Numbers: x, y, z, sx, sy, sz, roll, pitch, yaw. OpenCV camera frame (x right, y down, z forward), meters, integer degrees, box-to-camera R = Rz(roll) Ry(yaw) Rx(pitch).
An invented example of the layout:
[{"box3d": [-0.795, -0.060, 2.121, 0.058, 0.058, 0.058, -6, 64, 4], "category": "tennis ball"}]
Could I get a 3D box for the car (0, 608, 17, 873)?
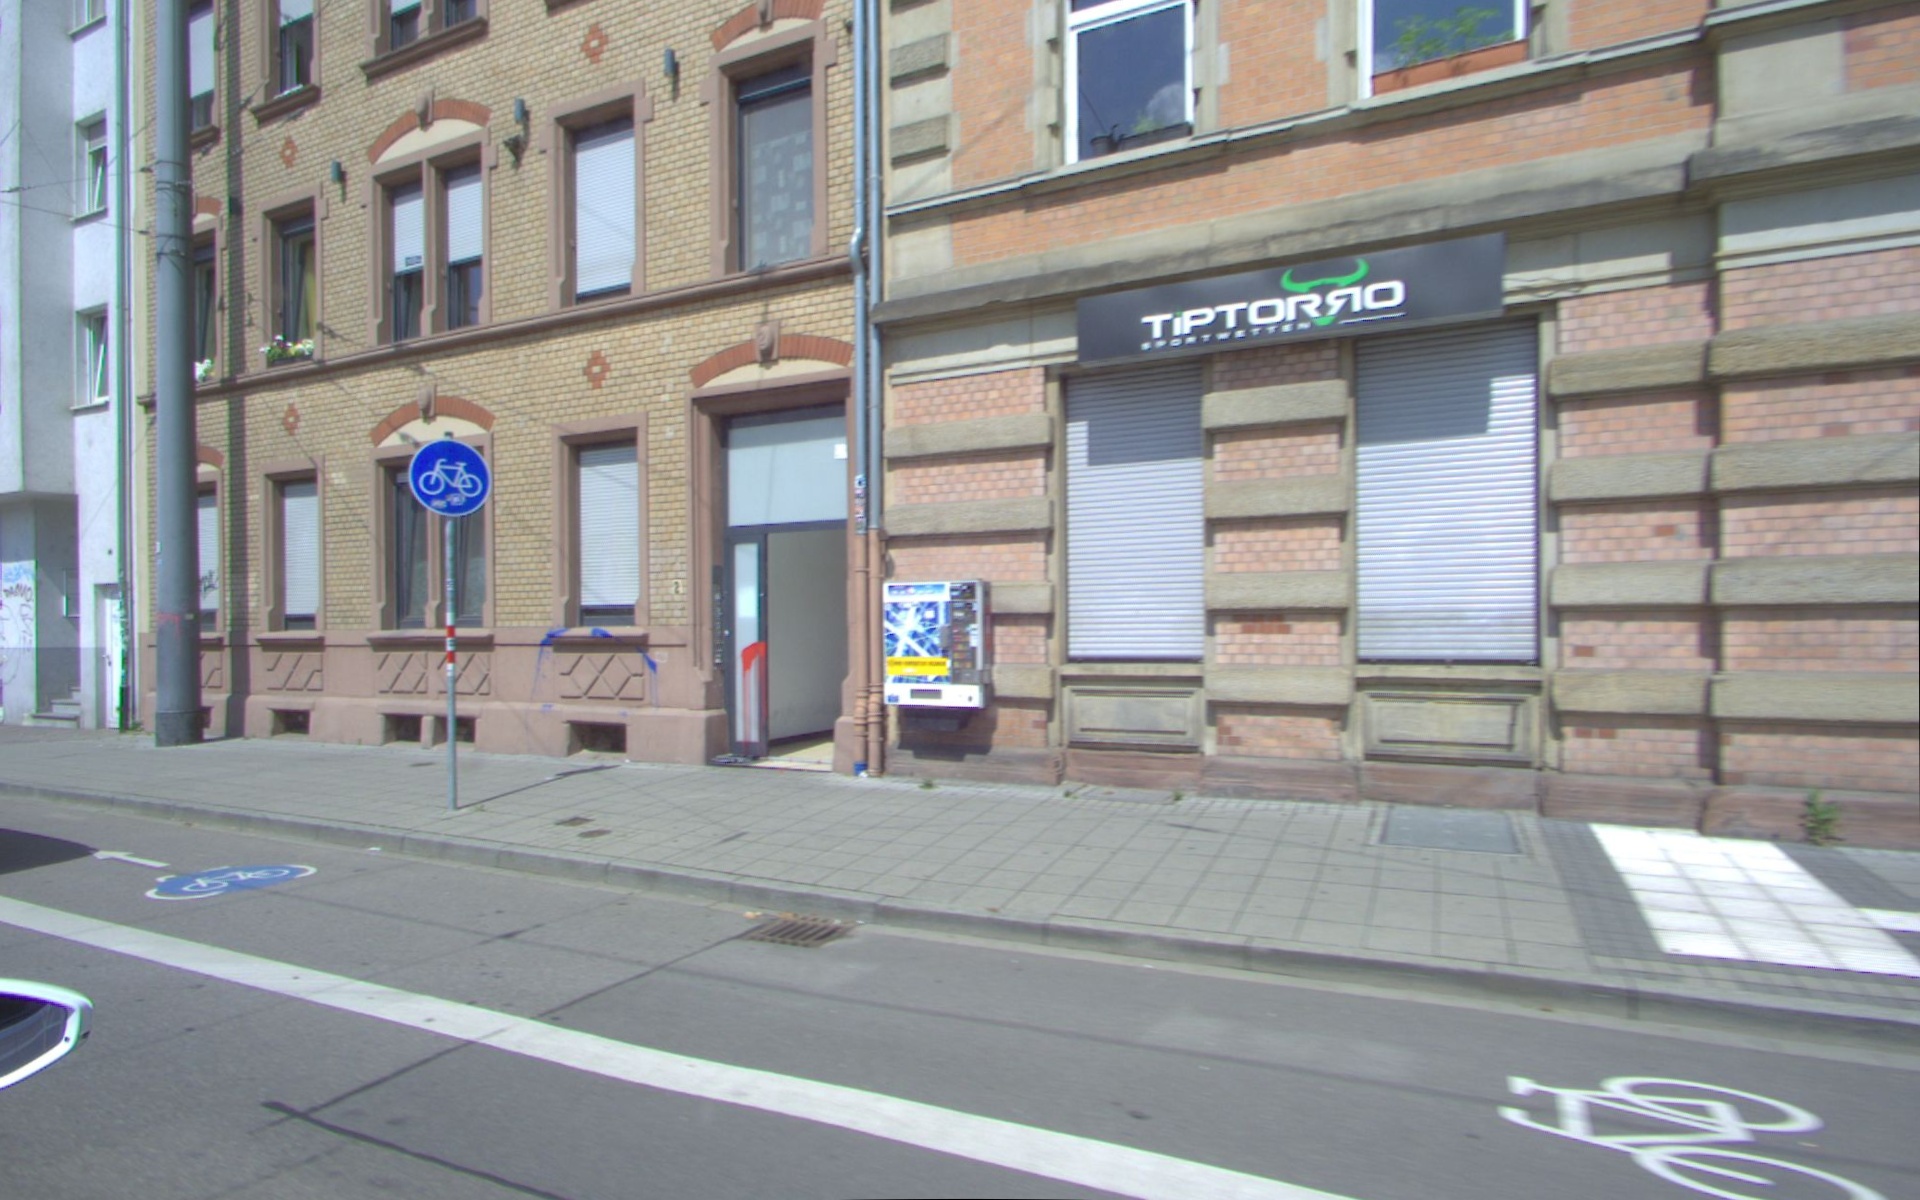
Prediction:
[{"box3d": [-8.213, 0.874, 6.337, 4.112, 1.654, 1.853, -1, -2, 25], "category": "car"}]
